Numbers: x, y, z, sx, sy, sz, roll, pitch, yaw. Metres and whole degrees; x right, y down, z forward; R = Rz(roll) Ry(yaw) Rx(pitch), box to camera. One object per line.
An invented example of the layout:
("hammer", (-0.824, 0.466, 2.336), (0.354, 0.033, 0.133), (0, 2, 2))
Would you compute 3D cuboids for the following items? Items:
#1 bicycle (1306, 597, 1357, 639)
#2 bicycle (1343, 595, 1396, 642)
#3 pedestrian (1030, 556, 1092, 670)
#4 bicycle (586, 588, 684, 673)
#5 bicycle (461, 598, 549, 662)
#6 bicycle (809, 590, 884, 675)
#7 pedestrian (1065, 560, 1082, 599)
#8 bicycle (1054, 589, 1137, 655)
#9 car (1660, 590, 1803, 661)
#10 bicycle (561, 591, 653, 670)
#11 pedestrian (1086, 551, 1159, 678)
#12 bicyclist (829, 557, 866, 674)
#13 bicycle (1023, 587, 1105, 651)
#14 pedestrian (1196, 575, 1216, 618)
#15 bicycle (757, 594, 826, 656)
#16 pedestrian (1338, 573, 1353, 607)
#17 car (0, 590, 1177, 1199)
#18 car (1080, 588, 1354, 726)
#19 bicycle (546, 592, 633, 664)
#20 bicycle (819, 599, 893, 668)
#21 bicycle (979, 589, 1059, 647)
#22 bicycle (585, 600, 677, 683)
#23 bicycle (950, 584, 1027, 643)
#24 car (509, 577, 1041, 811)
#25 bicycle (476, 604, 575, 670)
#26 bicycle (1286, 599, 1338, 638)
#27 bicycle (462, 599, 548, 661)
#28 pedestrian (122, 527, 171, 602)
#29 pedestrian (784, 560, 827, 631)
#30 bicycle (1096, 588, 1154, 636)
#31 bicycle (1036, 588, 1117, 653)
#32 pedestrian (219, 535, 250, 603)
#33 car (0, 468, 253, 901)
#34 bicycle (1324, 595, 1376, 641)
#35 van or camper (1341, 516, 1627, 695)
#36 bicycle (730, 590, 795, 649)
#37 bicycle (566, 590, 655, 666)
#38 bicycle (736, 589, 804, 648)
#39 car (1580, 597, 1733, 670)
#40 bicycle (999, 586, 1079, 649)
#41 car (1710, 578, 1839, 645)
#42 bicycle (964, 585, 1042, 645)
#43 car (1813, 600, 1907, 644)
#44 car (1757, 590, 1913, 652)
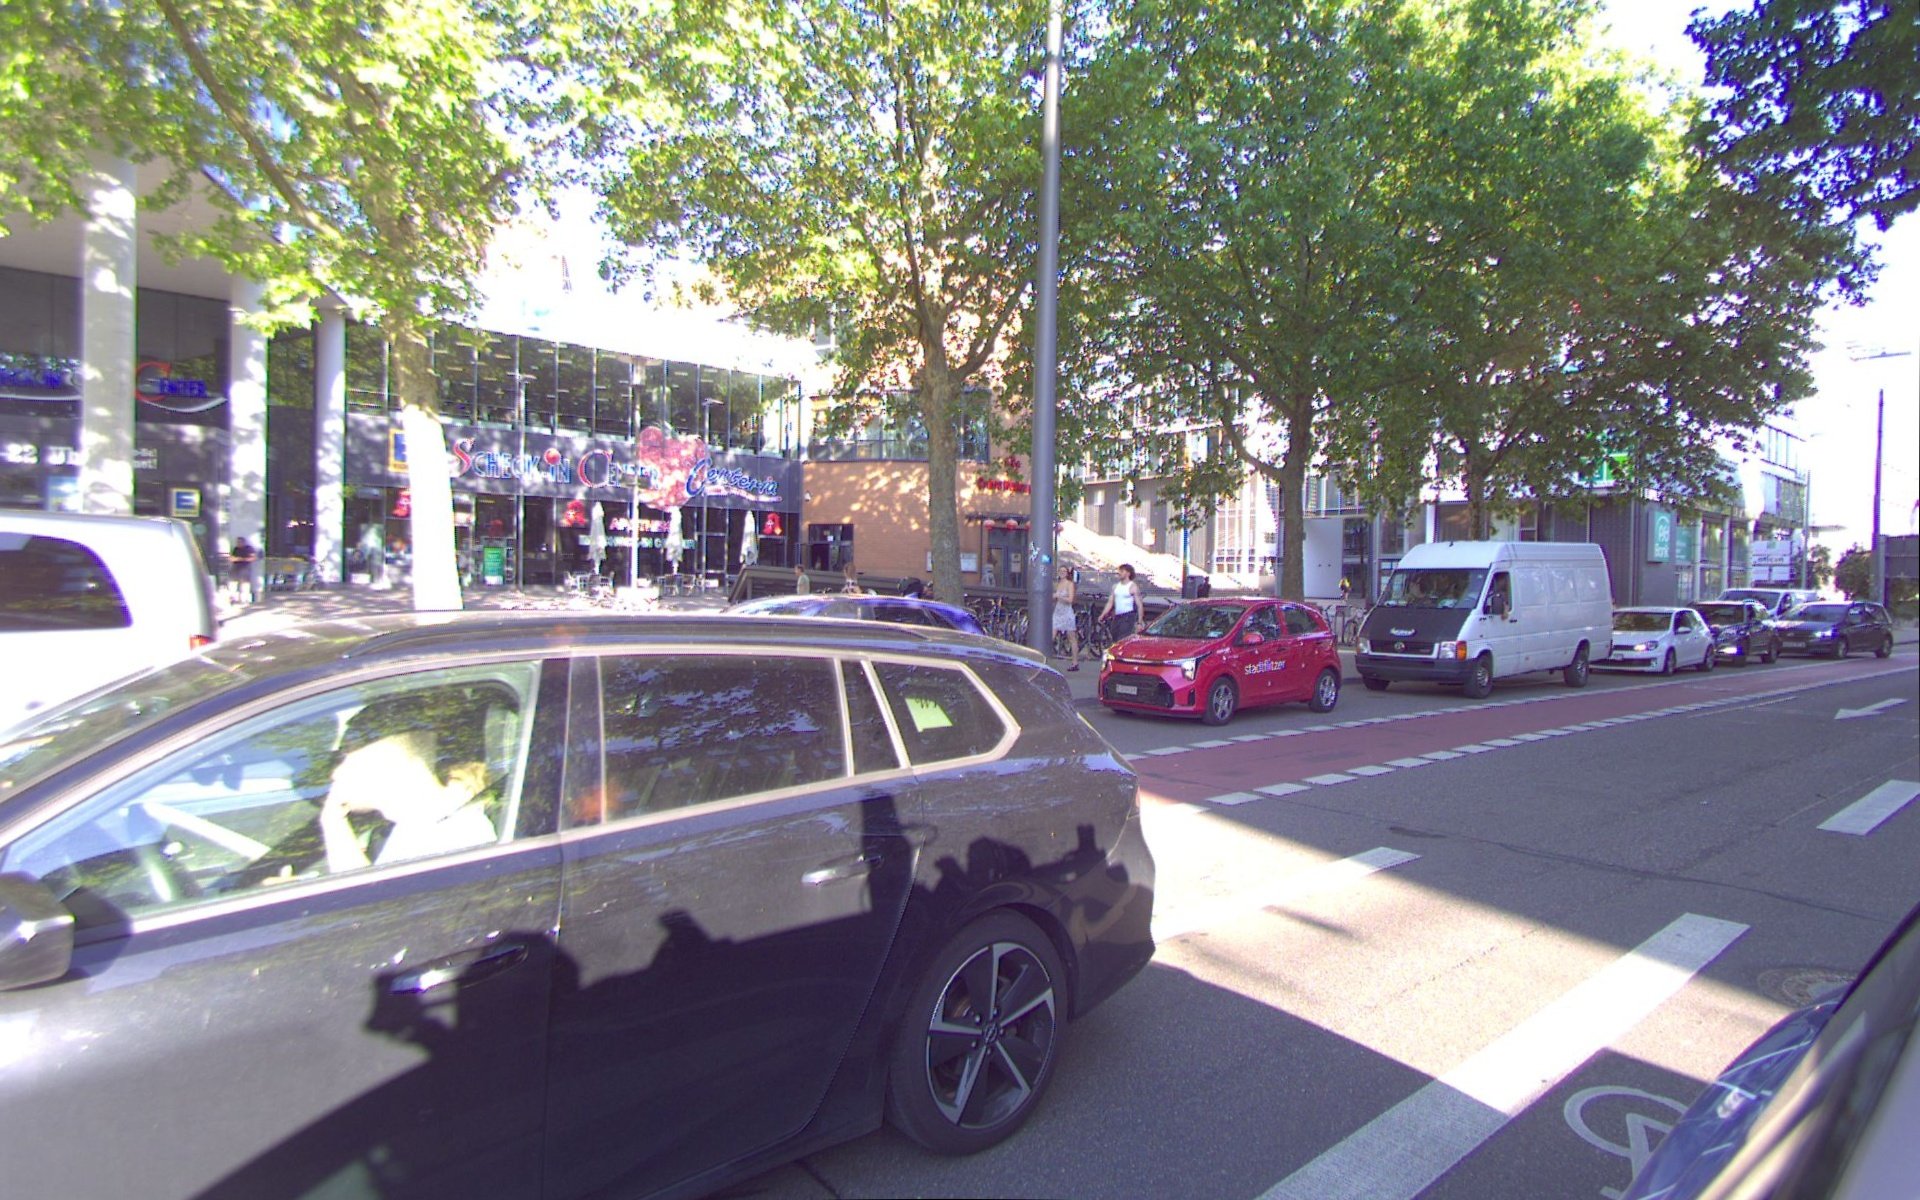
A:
("bicycle", (10.297, 0.485, 28.037), (1.766, 1.108, 0.522), (0, 2, -41))
("bicycle", (11.020, 0.479, 27.226), (1.818, 1.209, 0.521), (0, 2, -41))
("pedestrian", (1.640, 0.192, 16.426), (0.646, 1.799, 0.752), (2, 1, 43))
("bicycle", (-4.449, 0.399, 13.879), (1.202, 1.110, 0.413), (0, 1, -40))
("bicycle", (-6.973, 0.454, 15.538), (1.198, 0.930, 0.442), (1, 1, -22))
("bicycle", (-1.763, 0.484, 15.738), (1.126, 1.271, 0.379), (0, 1, -41))
("pedestrian", (6.108, -1.093, 54.561), (0.861, 2.062, 0.585), (1, 1, 6))
("bicycle", (2.608, 0.399, 19.359), (1.818, 1.209, 0.481), (0, 1, -41))
("car", (19.690, 0.592, 25.787), (4.148, 1.640, 1.819), (0, 1, -36))
("bicycle", (-5.171, 0.424, 14.835), (1.202, 1.110, 0.396), (0, 1, -40))
("pedestrian", (2.513, 0.207, 15.639), (0.642, 1.867, 0.801), (7, 4, 45))
("bicyclist", (-1.743, 0.230, 15.727), (0.392, 1.782, 0.390), (0, 1, -41))
("bicycle", (2.097, 0.363, 20.253), (1.818, 1.209, 0.484), (0, 1, -41))
("pedestrian", (9.375, -0.142, 38.574), (0.707, 1.578, 0.638), (1, 1, 14))
("bicycle", (-3.132, 0.445, 18.829), (1.202, 1.110, 0.427), (0, 1, -40))
("pedestrian", (24.975, -0.672, 65.571), (0.826, 2.183, 0.852), (2, 1, 26))
("car", (-1.467, 0.695, 2.438), (4.196, 1.432, 1.742), (0, 0, -41))
("car", (3.334, 0.609, 12.812), (3.588, 1.476, 1.605), (0, 1, -41))
("bicycle", (-5.965, 0.424, 16.337), (0.414, 1.110, 1.269), (2, 1, 41))
("bicycle", (-1.740, 0.545, 17.074), (1.202, 1.110, 0.420), (0, 1, -40))
("bicycle", (1.242, 0.352, 20.963), (1.818, 1.139, 0.484), (0, 2, -41))
("bicycle", (-4.594, 0.565, 14.176), (1.202, 1.110, 0.269), (0, 1, -40))
("bicycle", (0.624, 0.272, 21.696), (1.818, 1.209, 0.434), (0, 1, -41))
("car", (-1.394, 0.594, 8.646), (4.177, 1.503, 1.742), (0, 2, -41))
("bicycle", (-6.252, 0.519, 14.591), (1.231, 0.898, 0.462), (0, 1, -40))
("bicycle", (9.913, 0.506, 28.447), (1.818, 1.046, 0.515), (0, 2, -41))
("bicycle", (-7.135, 0.463, 15.916), (1.198, 0.938, 0.465), (1, 1, -22))
("pedestrian", (-19.974, -0.883, 24.853), (0.878, 1.805, 0.598), (2, 1, 25))
("pedestrian", (-3.839, -0.114, 25.147), (0.796, 1.728, 0.713), (1, 1, 20))
("bicycle", (4.416, 0.308, 27.015), (1.759, 1.209, 0.517), (0, 2, -41))
("bicycle", (2.285, 0.388, 19.745), (1.818, 1.209, 0.448), (0, 1, -41))
("pedestrian", (-18.758, -0.799, 26.170), (0.506, 1.707, 0.604), (1, 1, -23))
("car", (-6.228, 0.364, 4.393), (5.008, 2.004, 1.940), (0, 2, -41))
("bicycle", (10.652, 0.485, 27.625), (1.818, 1.209, 0.495), (0, 1, -41))
("van or camper", (9.261, 0.069, 17.546), (6.456, 2.611, 1.998), (0, 0, -39))
("bicycle", (-3.901, 0.373, 20.044), (1.202, 1.110, 0.429), (0, 1, -40))
("bicycle", (-5.373, 0.406, 15.583), (0.372, 1.110, 1.269), (2, 1, 41))
("bicycle", (-3.656, 0.344, 19.500), (1.202, 1.110, 0.444), (0, 1, -40))
("car", (15.376, 0.679, 22.277), (3.927, 1.446, 1.683), (0, 1, -38))
("bicycle", (1.615, 0.339, 20.514), (1.818, 1.209, 0.447), (0, 1, -41))
("car", (26.525, 0.346, 32.897), (4.863, 2.020, 1.968), (0, 1, -35))
("bicycle", (0.922, 0.297, 21.342), (1.818, 1.209, 0.458), (0, 1, -41))
("car", (31.648, 0.736, 35.558), (3.927, 1.394, 1.802), (0, 2, -38))
("car", (25.197, 0.581, 29.135), (4.242, 1.640, 1.970), (0, 1, -28))
